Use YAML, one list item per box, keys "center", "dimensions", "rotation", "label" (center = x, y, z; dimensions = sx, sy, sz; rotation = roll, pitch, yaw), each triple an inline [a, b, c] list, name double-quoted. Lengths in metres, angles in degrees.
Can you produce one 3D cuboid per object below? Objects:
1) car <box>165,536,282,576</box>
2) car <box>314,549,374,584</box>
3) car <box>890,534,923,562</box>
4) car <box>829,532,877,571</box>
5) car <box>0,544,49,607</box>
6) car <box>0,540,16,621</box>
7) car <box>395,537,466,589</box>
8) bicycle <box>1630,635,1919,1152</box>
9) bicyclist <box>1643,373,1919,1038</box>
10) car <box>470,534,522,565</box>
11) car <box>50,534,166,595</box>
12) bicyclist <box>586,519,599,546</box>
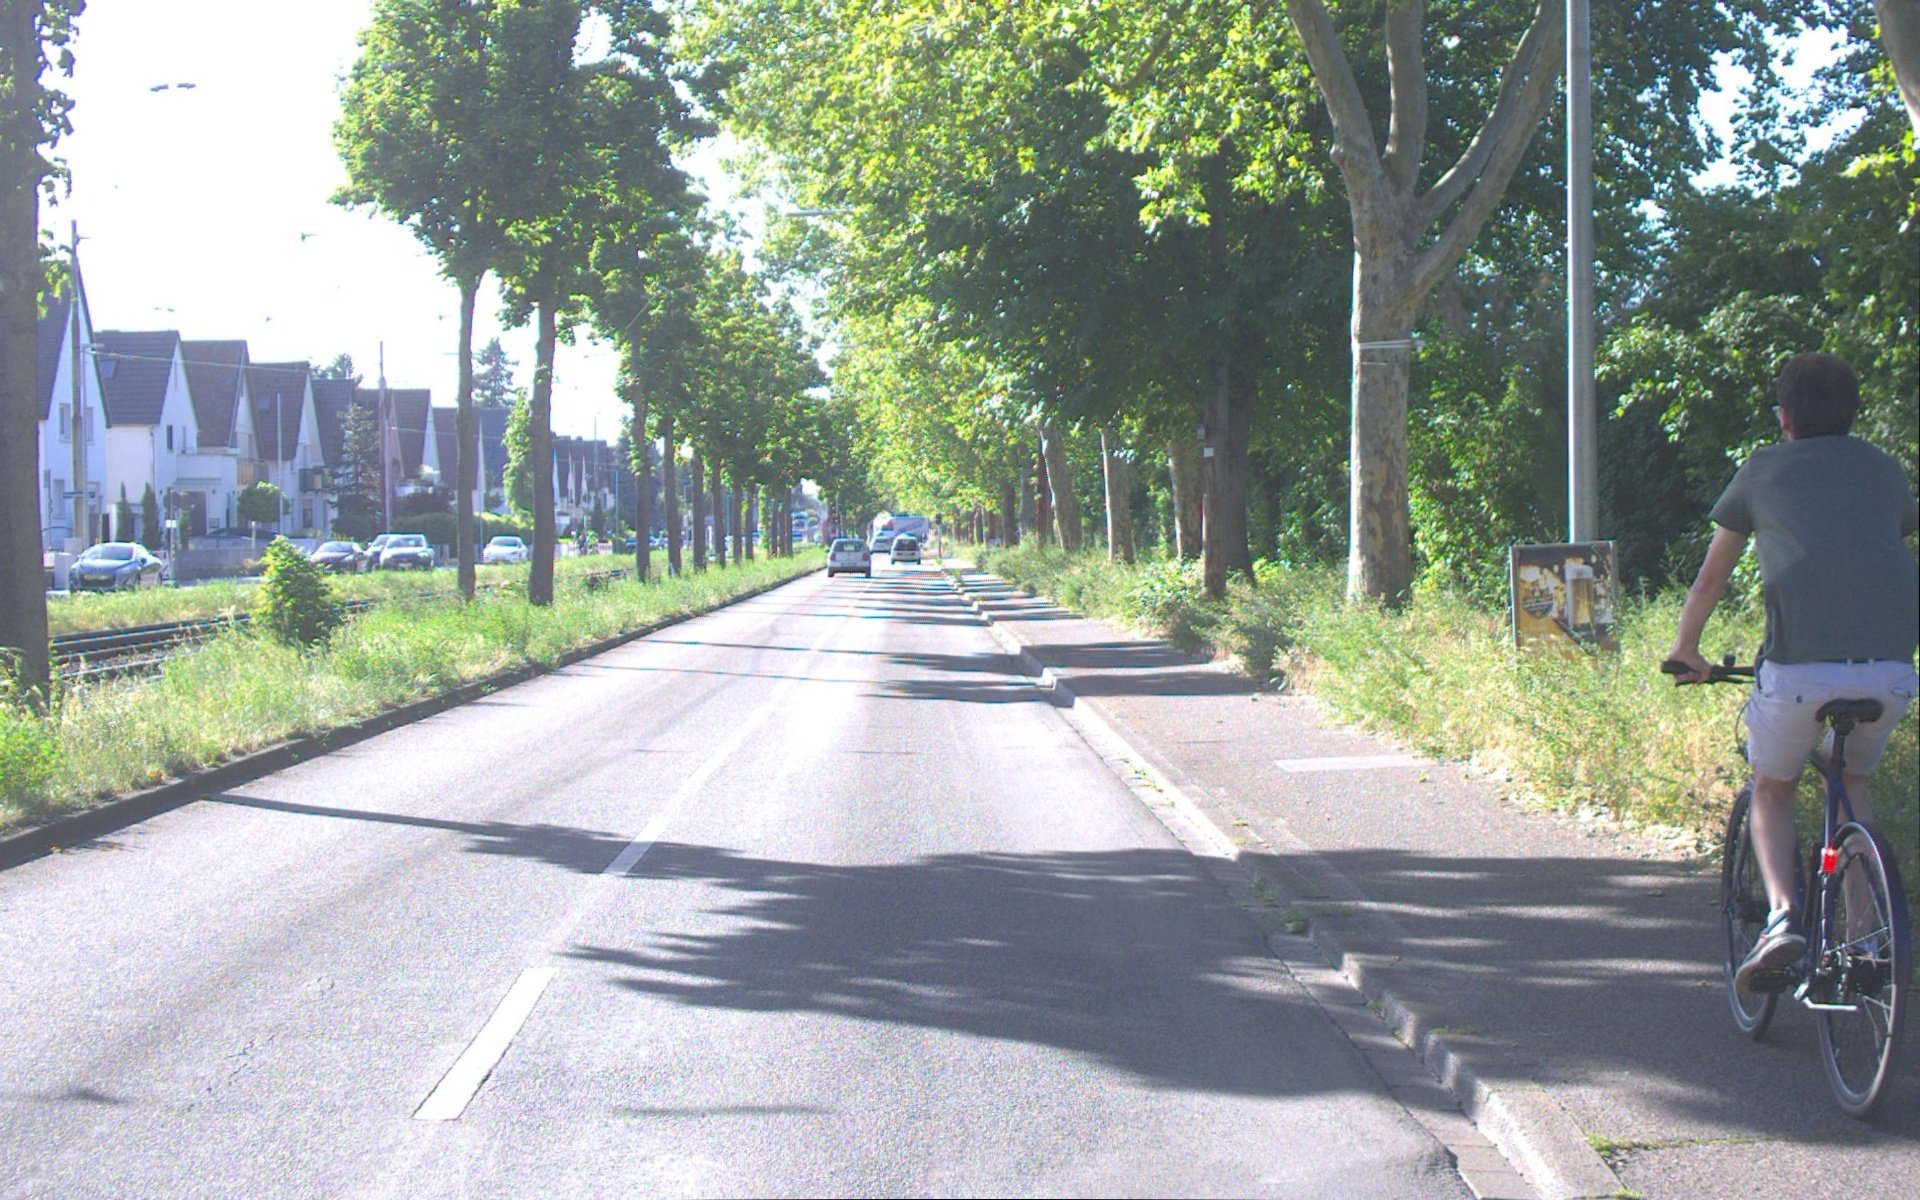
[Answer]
- center: [-28.852, -1.727, 134.773]
  dimensions: [4.212, 1.458, 1.938]
  rotation: [1, 0, -4]
  label: "car"
- center: [-23.576, -1.275, 131.661]
  dimensions: [1.494, 1.321, 4.000]
  rotation: [1, 0, 1]
  label: "car"
- center: [-2.995, -2.918, 192.163]
  dimensions: [1.761, 1.508, 3.277]
  rotation: [1, 0, 0]
  label: "car"
- center: [-3.990, -1.798, 128.768]
  dimensions: [1.738, 1.396, 3.277]
  rotation: [1, 0, -1]
  label: "car"
- center: [-22.662, -0.590, 79.873]
  dimensions: [1.824, 1.407, 4.658]
  rotation: [1, 0, -1]
  label: "car"
- center: [-17.479, -0.326, 58.698]
  dimensions: [1.676, 1.405, 4.000]
  rotation: [0, 1, -1]
  label: "car"
- center: [-19.915, -1.375, 129.380]
  dimensions: [1.915, 1.876, 4.524]
  rotation: [1, 0, 0]
  label: "car"
- center: [2.145, 0.691, 8.890]
  dimensions: [0.440, 1.149, 1.823]
  rotation: [0, 1, -1]
  label: "bicycle"
- center: [2.162, 0.250, 8.849]
  dimensions: [0.613, 1.623, 0.909]
  rotation: [0, 1, -1]
  label: "bicyclist"
- center: [-25.285, -2.726, 187.453]
  dimensions: [1.994, 1.593, 4.731]
  rotation: [1, 0, 3]
  label: "car"
- center: [-23.106, -0.980, 93.383]
  dimensions: [1.993, 1.576, 4.498]
  rotation: [1, 1, 0]
  label: "car"
- center: [-22.207, -4.065, 207.686]
  dimensions: [0.688, 1.646, 0.881]
  rotation: [2, 1, -1]
  label: "bicyclist"
